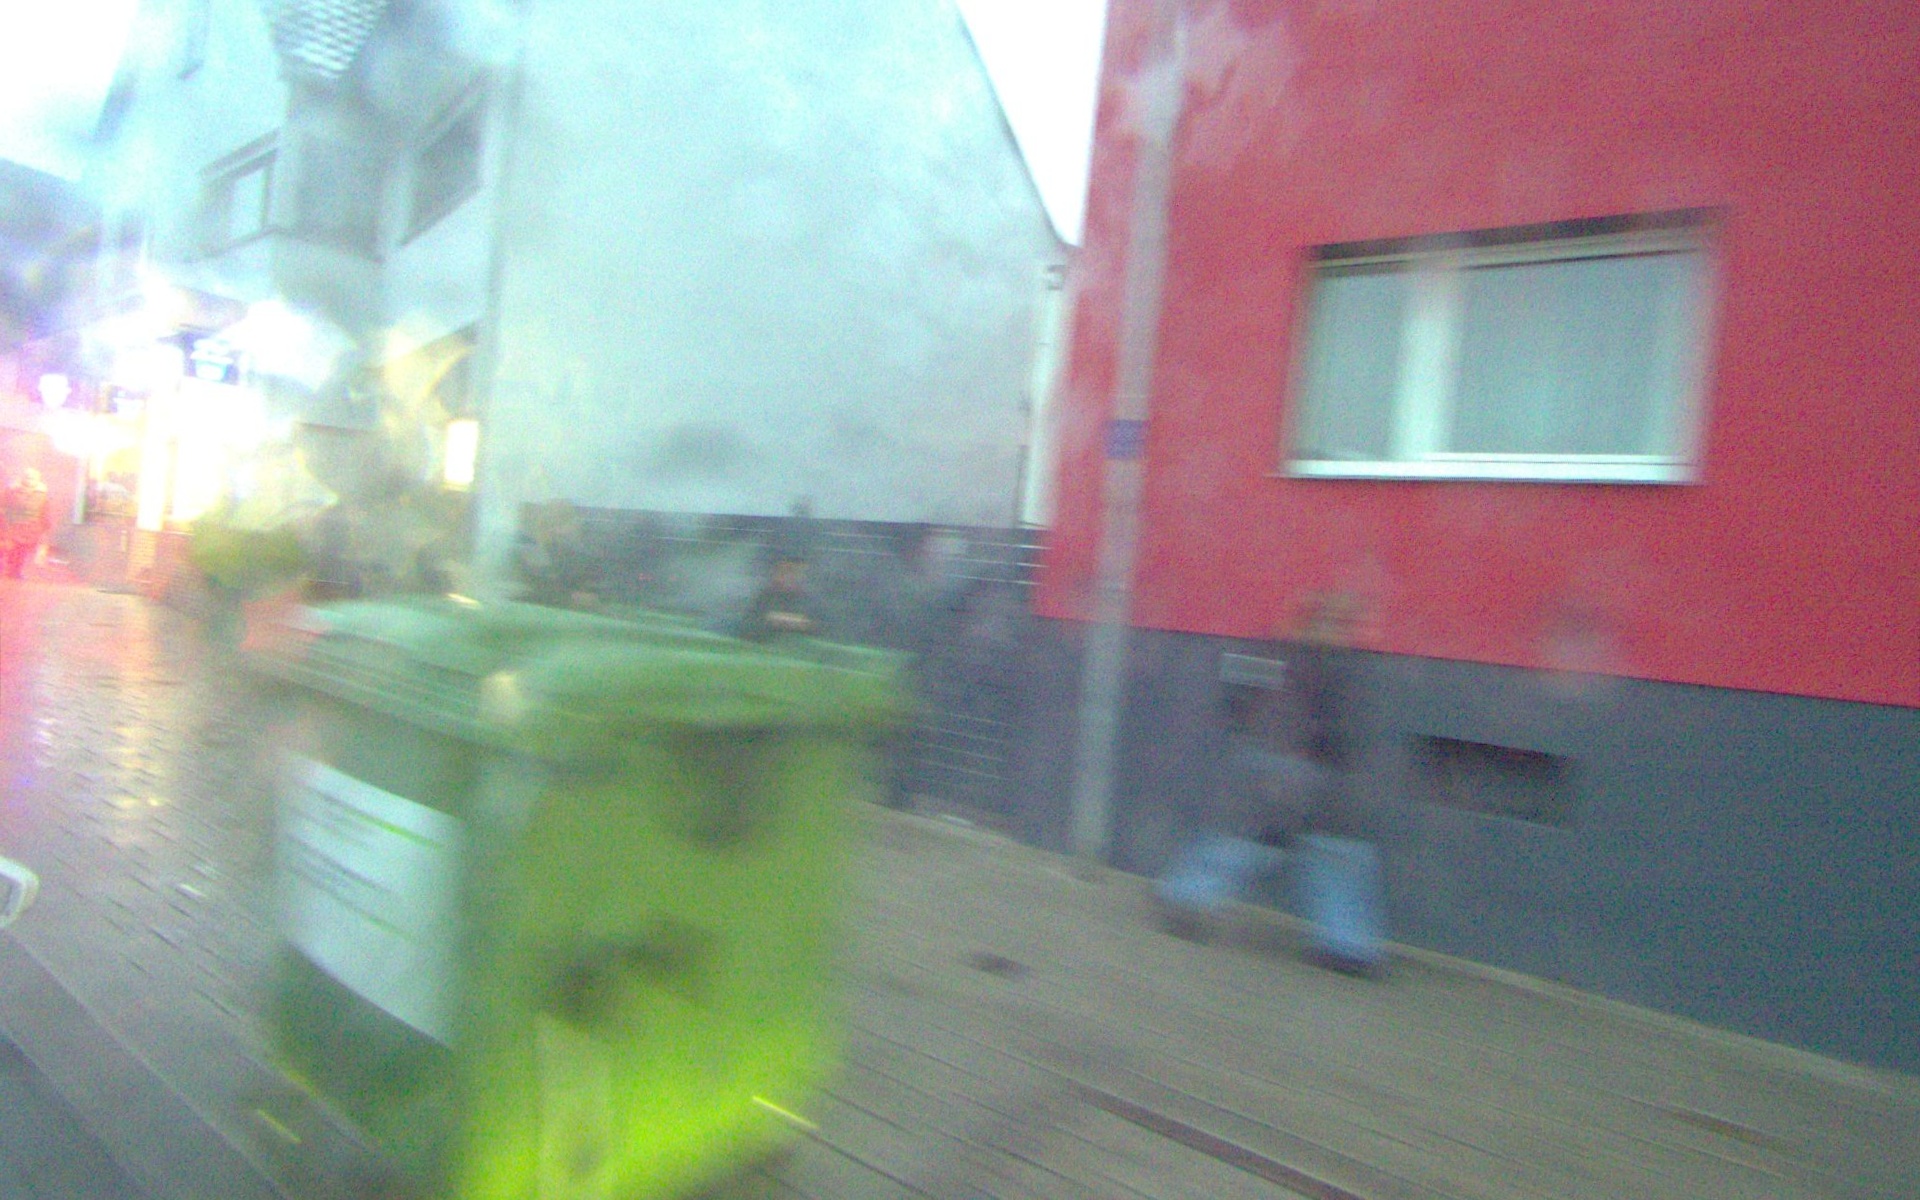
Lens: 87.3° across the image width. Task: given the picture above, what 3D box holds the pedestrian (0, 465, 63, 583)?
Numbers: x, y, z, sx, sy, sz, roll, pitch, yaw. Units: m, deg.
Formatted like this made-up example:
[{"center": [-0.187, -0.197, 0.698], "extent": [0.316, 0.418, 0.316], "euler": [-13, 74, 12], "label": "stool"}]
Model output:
[{"center": [-14.727, -1.186, 15.913], "extent": [0.495, 1.746, 0.617], "euler": [3, -3, 45], "label": "pedestrian"}]

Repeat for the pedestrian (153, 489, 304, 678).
[{"center": [-6.929, -0.148, 9.540], "extent": [0.889, 1.647, 0.620], "euler": [8, 1, 20], "label": "pedestrian"}]

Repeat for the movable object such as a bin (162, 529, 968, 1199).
[{"center": [-0.931, 0.641, 2.388], "extent": [1.395, 1.440, 1.128], "euler": [8, 4, 35], "label": "movable object such as a bin"}]

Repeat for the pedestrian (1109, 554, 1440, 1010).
[{"center": [1.390, 0.713, 4.482], "extent": [1.036, 1.701, 0.746], "euler": [7, 2, 39], "label": "pedestrian"}]

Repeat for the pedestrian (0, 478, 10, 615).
[{"center": [-12.473, -0.704, 12.658], "extent": [0.642, 1.722, 0.573], "euler": [6, 2, 34], "label": "pedestrian"}]

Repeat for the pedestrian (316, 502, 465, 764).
[{"center": [-3.933, 0.198, 6.923], "extent": [1.004, 1.651, 0.478], "euler": [8, 2, 41], "label": "pedestrian"}]

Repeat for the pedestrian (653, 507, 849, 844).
[{"center": [-1.240, 0.412, 5.930], "extent": [0.853, 1.822, 0.528], "euler": [7, 0, 43], "label": "pedestrian"}]

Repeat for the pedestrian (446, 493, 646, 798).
[{"center": [-2.621, 0.252, 6.332], "extent": [0.709, 1.737, 1.021], "euler": [5, 2, -43], "label": "pedestrian"}]
